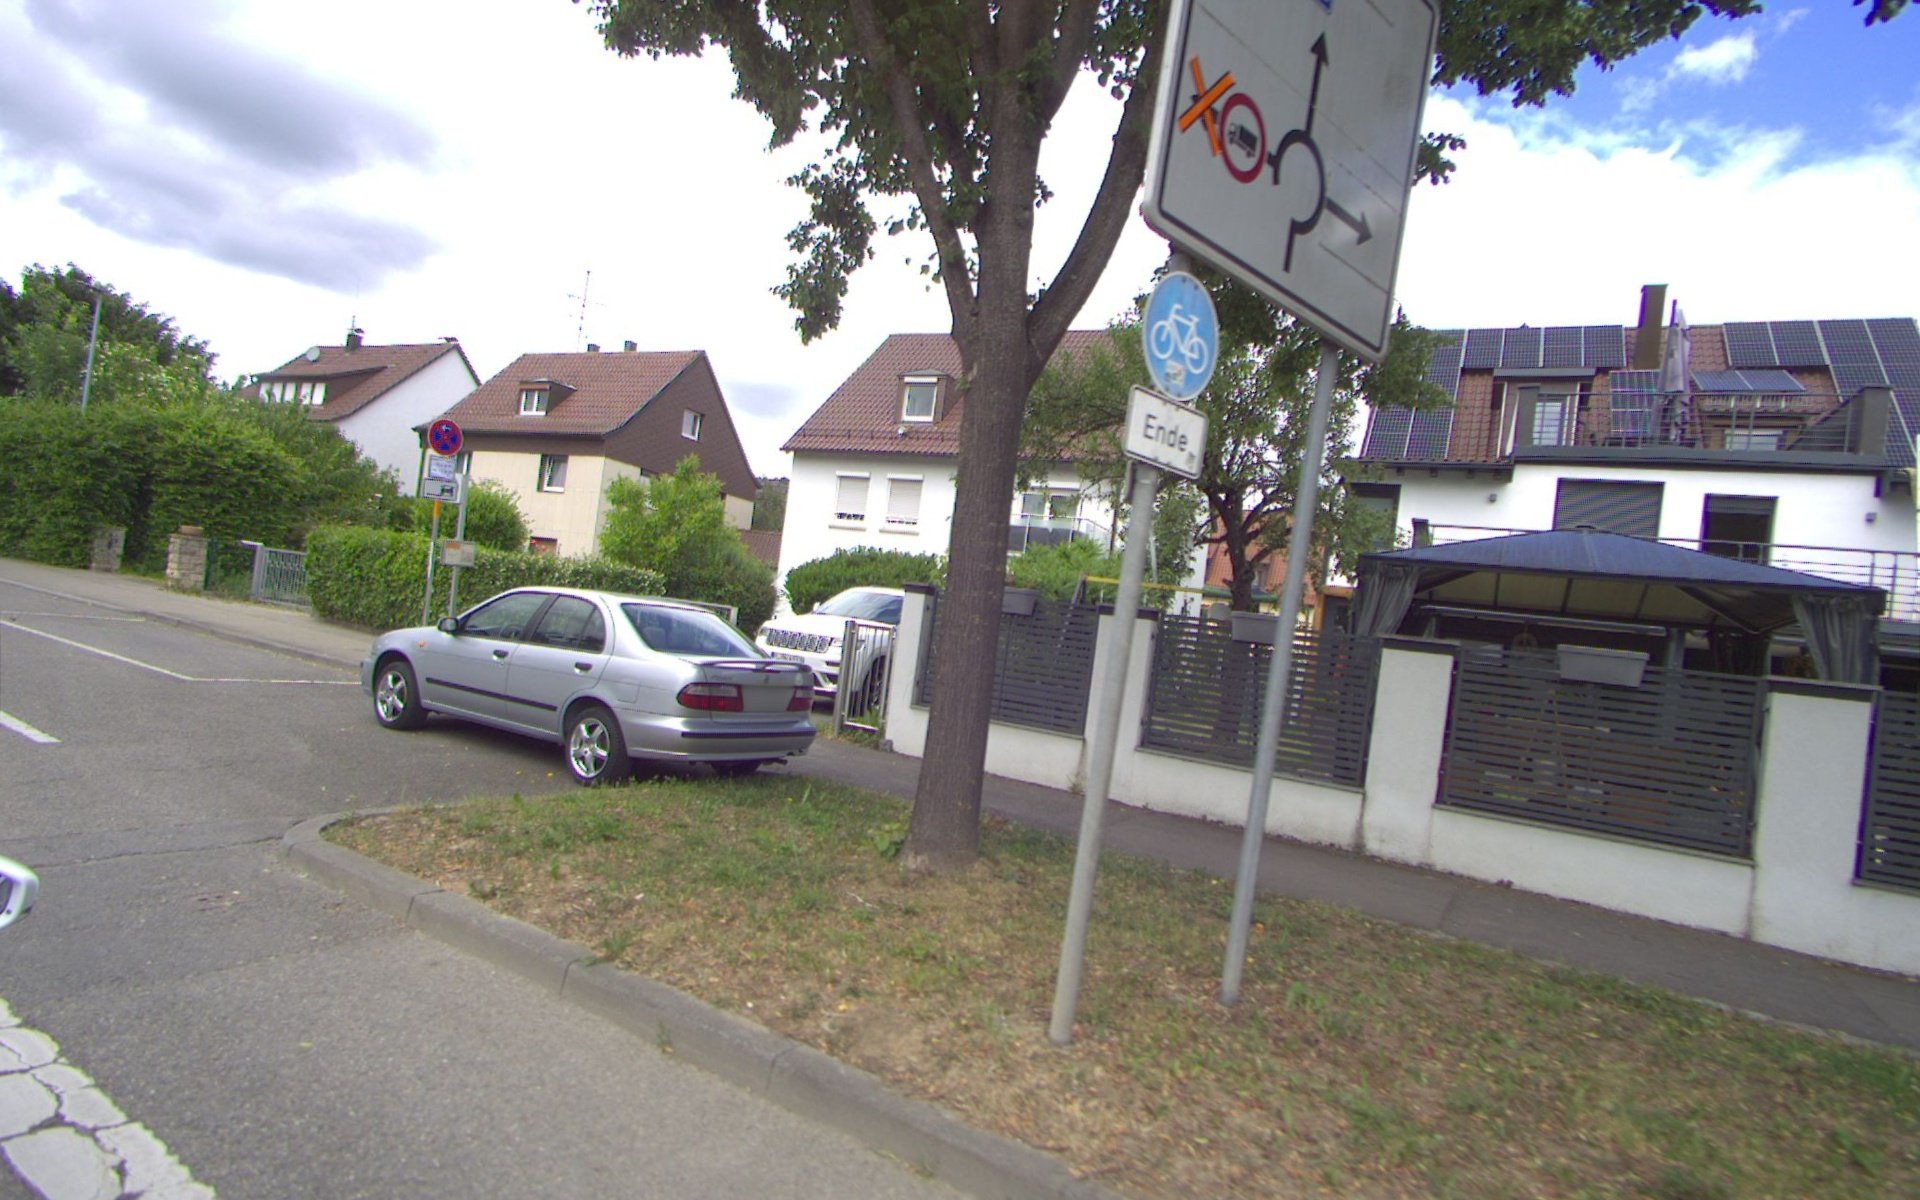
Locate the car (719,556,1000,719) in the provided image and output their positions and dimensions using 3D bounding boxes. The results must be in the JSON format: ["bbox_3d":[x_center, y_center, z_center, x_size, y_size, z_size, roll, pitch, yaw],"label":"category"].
[{"bbox_3d":[-1.270,0.628,14.541,1.966,1.844,3.997,7,-2,29],"label":"car"}]

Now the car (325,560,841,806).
[{"bbox_3d":[-3.269,0.584,8.449,4.314,1.392,1.615,5,-2,31],"label":"car"}]
